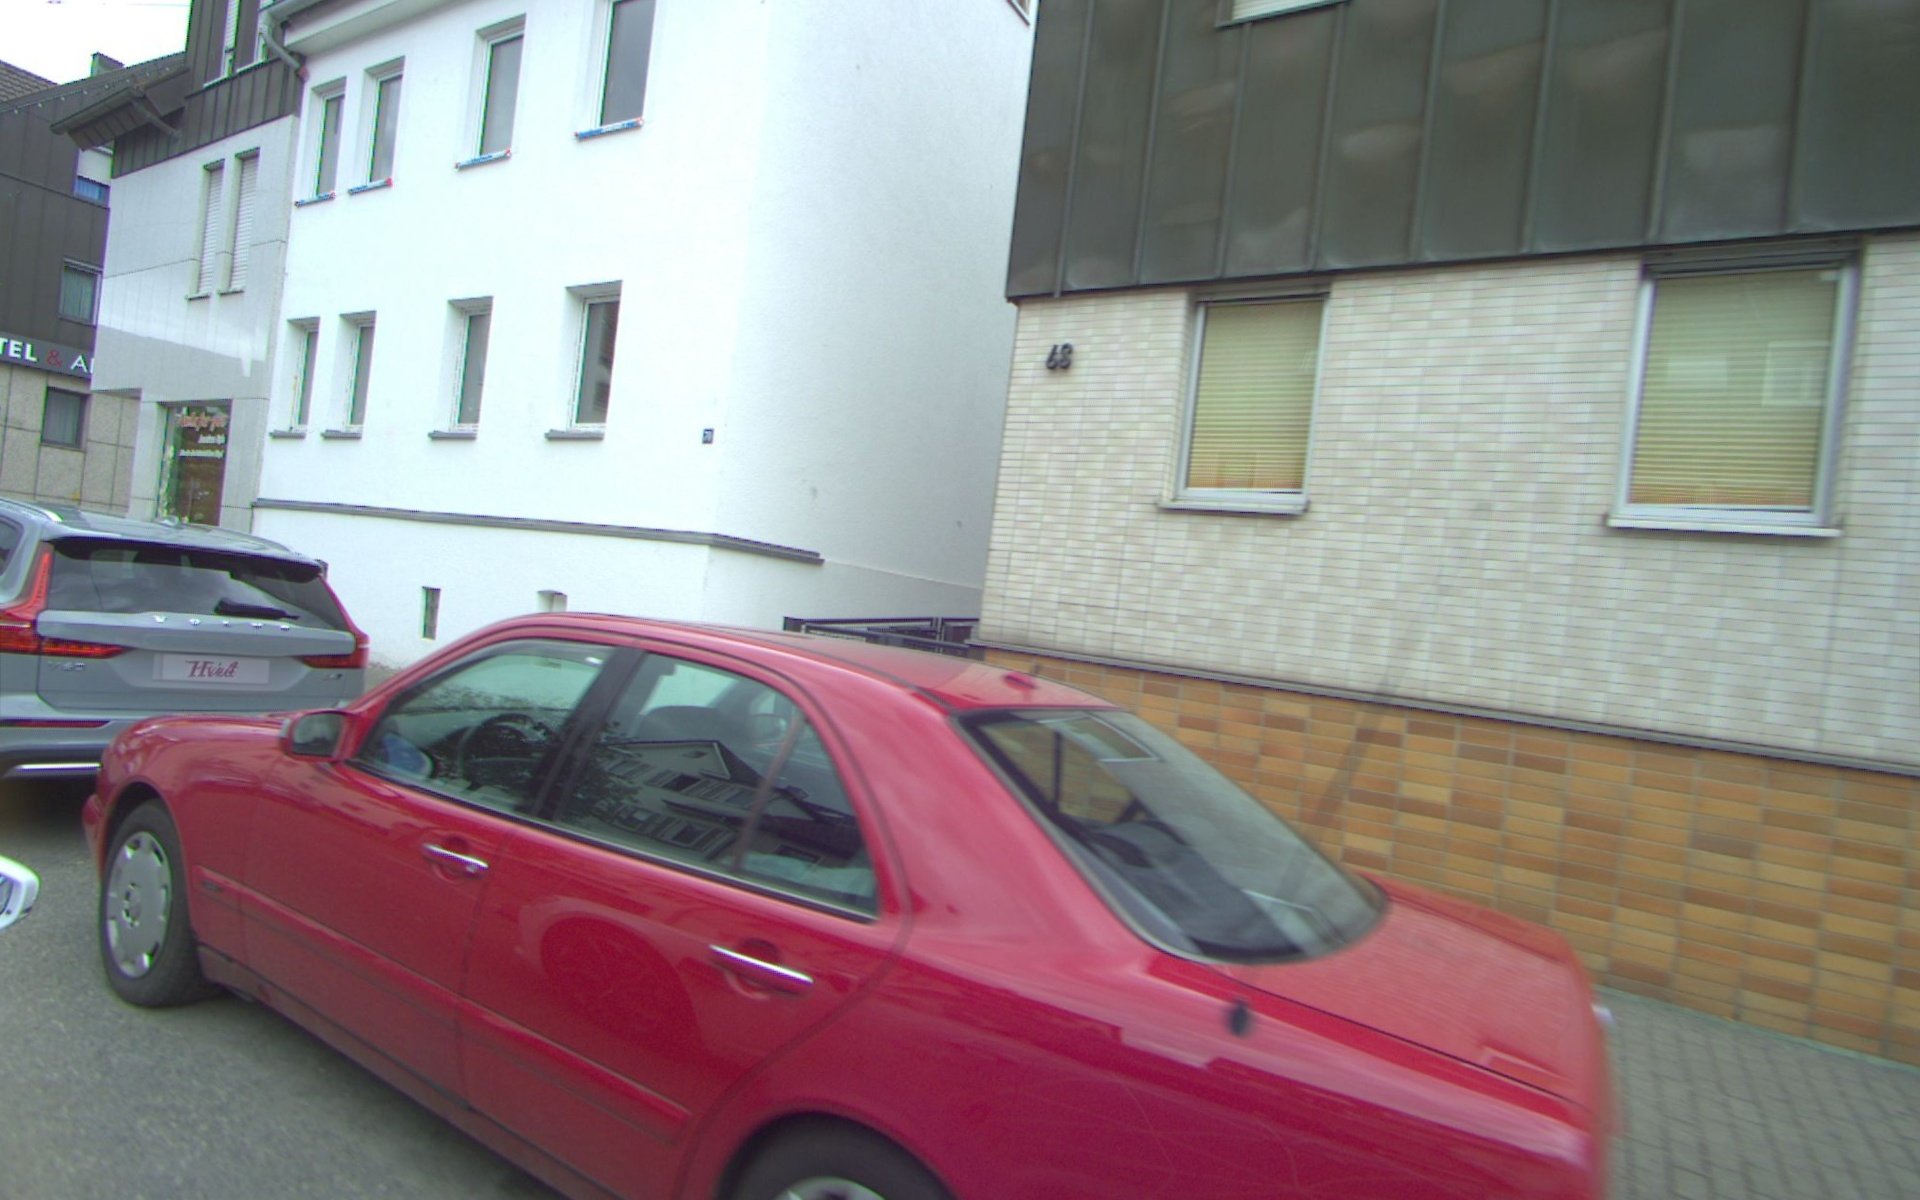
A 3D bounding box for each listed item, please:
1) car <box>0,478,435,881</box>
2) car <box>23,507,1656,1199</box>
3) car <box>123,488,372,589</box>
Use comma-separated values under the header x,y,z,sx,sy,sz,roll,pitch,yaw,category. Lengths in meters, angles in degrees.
x,y,z,sx,sy,sz,roll,pitch,yaw,category
-5.192,0.178,5.667,4.439,1.557,1.879,6,-2,32,car
-0.731,0.718,3.044,4.379,1.462,1.759,7,-2,30,car
-17.138,-1.425,24.450,1.897,1.890,4.485,7,1,30,car
